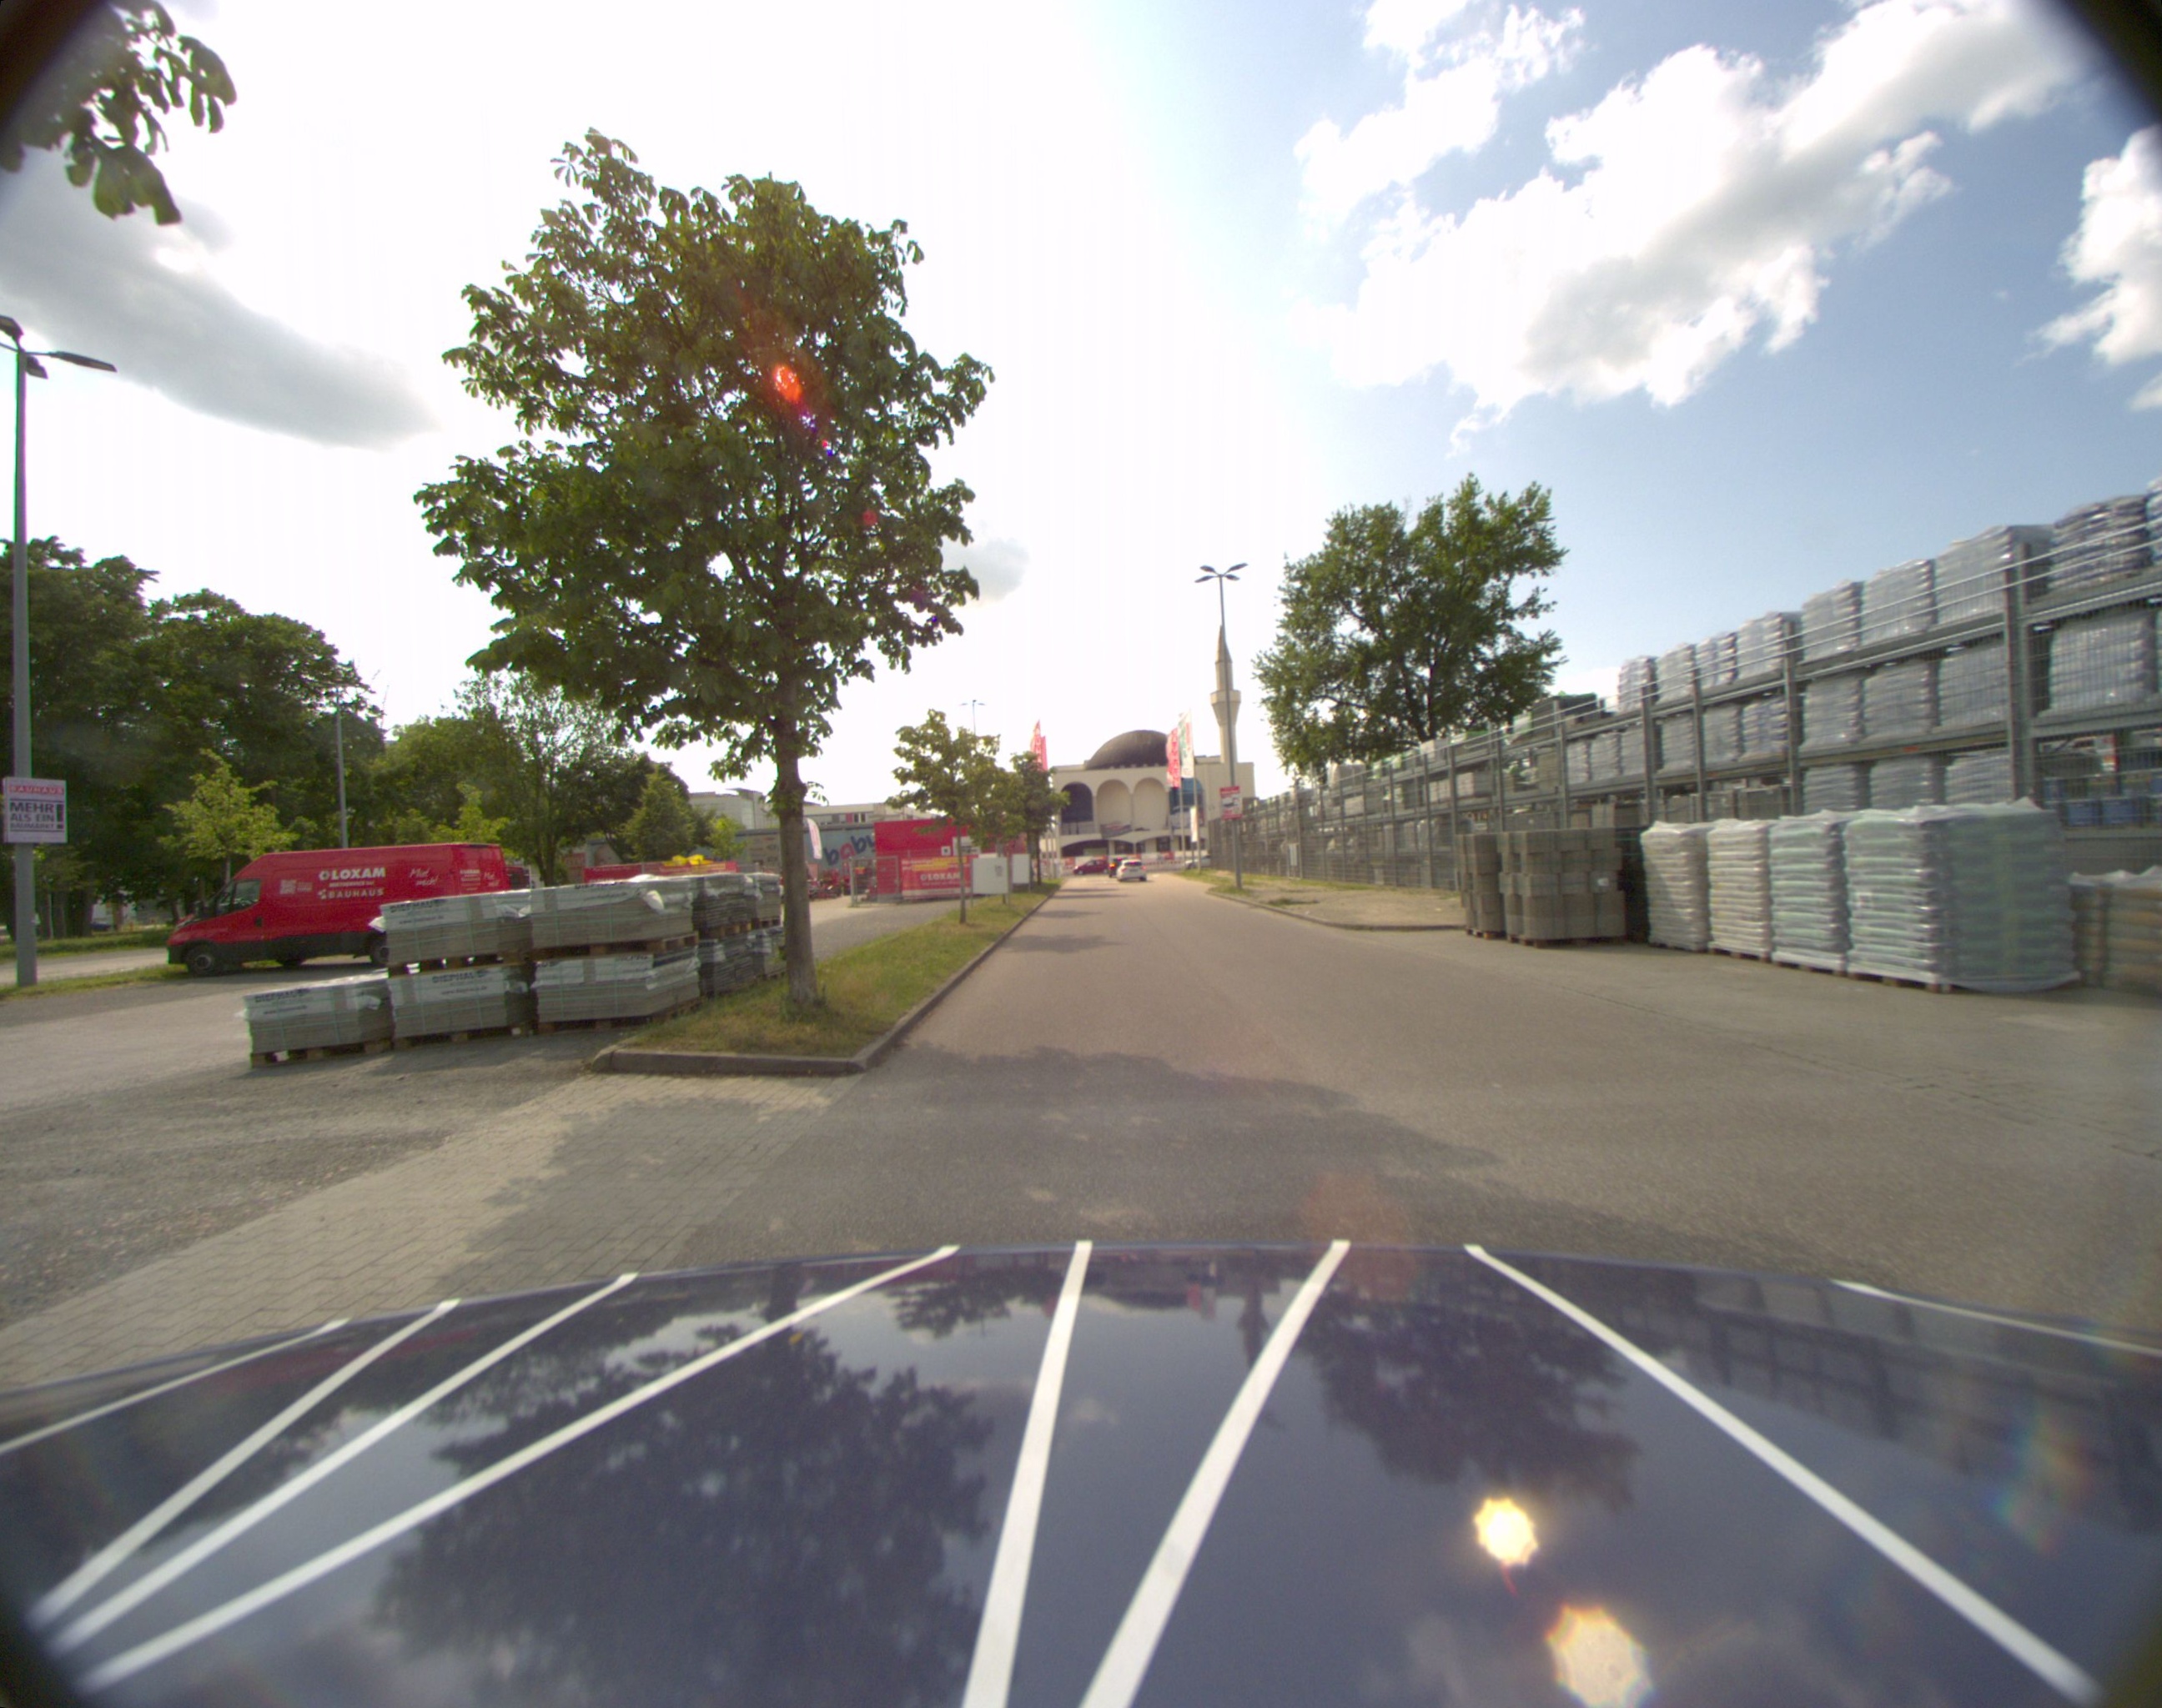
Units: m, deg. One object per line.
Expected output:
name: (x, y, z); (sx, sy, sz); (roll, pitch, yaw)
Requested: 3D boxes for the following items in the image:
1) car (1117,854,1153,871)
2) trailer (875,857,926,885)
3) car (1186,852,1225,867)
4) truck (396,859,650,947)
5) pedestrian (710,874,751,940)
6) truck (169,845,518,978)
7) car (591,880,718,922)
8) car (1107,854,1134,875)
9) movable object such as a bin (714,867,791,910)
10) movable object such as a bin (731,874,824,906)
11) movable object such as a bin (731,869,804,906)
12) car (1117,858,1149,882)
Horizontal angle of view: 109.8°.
car: (5.292, 0.817, 74.736); (3.484, 1.491, 1.775); (-2, 3, 2)
trailer: (-16.897, 1.581, 71.356); (4.274, 2.406, 1.768); (-2, 3, 0)
car: (12.542, 0.547, 76.695); (3.707, 1.358, 1.651); (-2, 0, 3)
truck: (-16.590, 1.404, 22.871); (5.860, 2.242, 2.173); (-3, 0, -2)
pedestrian: (-9.352, 1.397, 20.299); (0.600, 1.682, 0.879); (-2, 1, 2)
truck: (-16.071, 1.200, 16.828); (5.442, 2.500, 2.116); (-3, 0, -2)
car: (-17.154, 1.872, 30.710); (4.144, 1.406, 1.617); (-2, 0, -5)
car: (3.299, 0.895, 63.525); (1.920, 1.608, 4.374); (-2, -1, -1)
movable object such as a bin: (-15.765, 1.639, 36.529); (3.010, 1.833, 1.389); (-3, 0, 1)
movable object such as a bin: (-16.227, 1.903, 40.898); (3.583, 1.370, 3.084); (-2, 1, 4)
movable object such as a bin: (-15.879, 1.681, 38.544); (3.010, 1.660, 1.389); (-3, 0, 1)
car: (3.464, 1.034, 51.096); (1.808, 1.456, 4.329); (-3, 0, 0)
